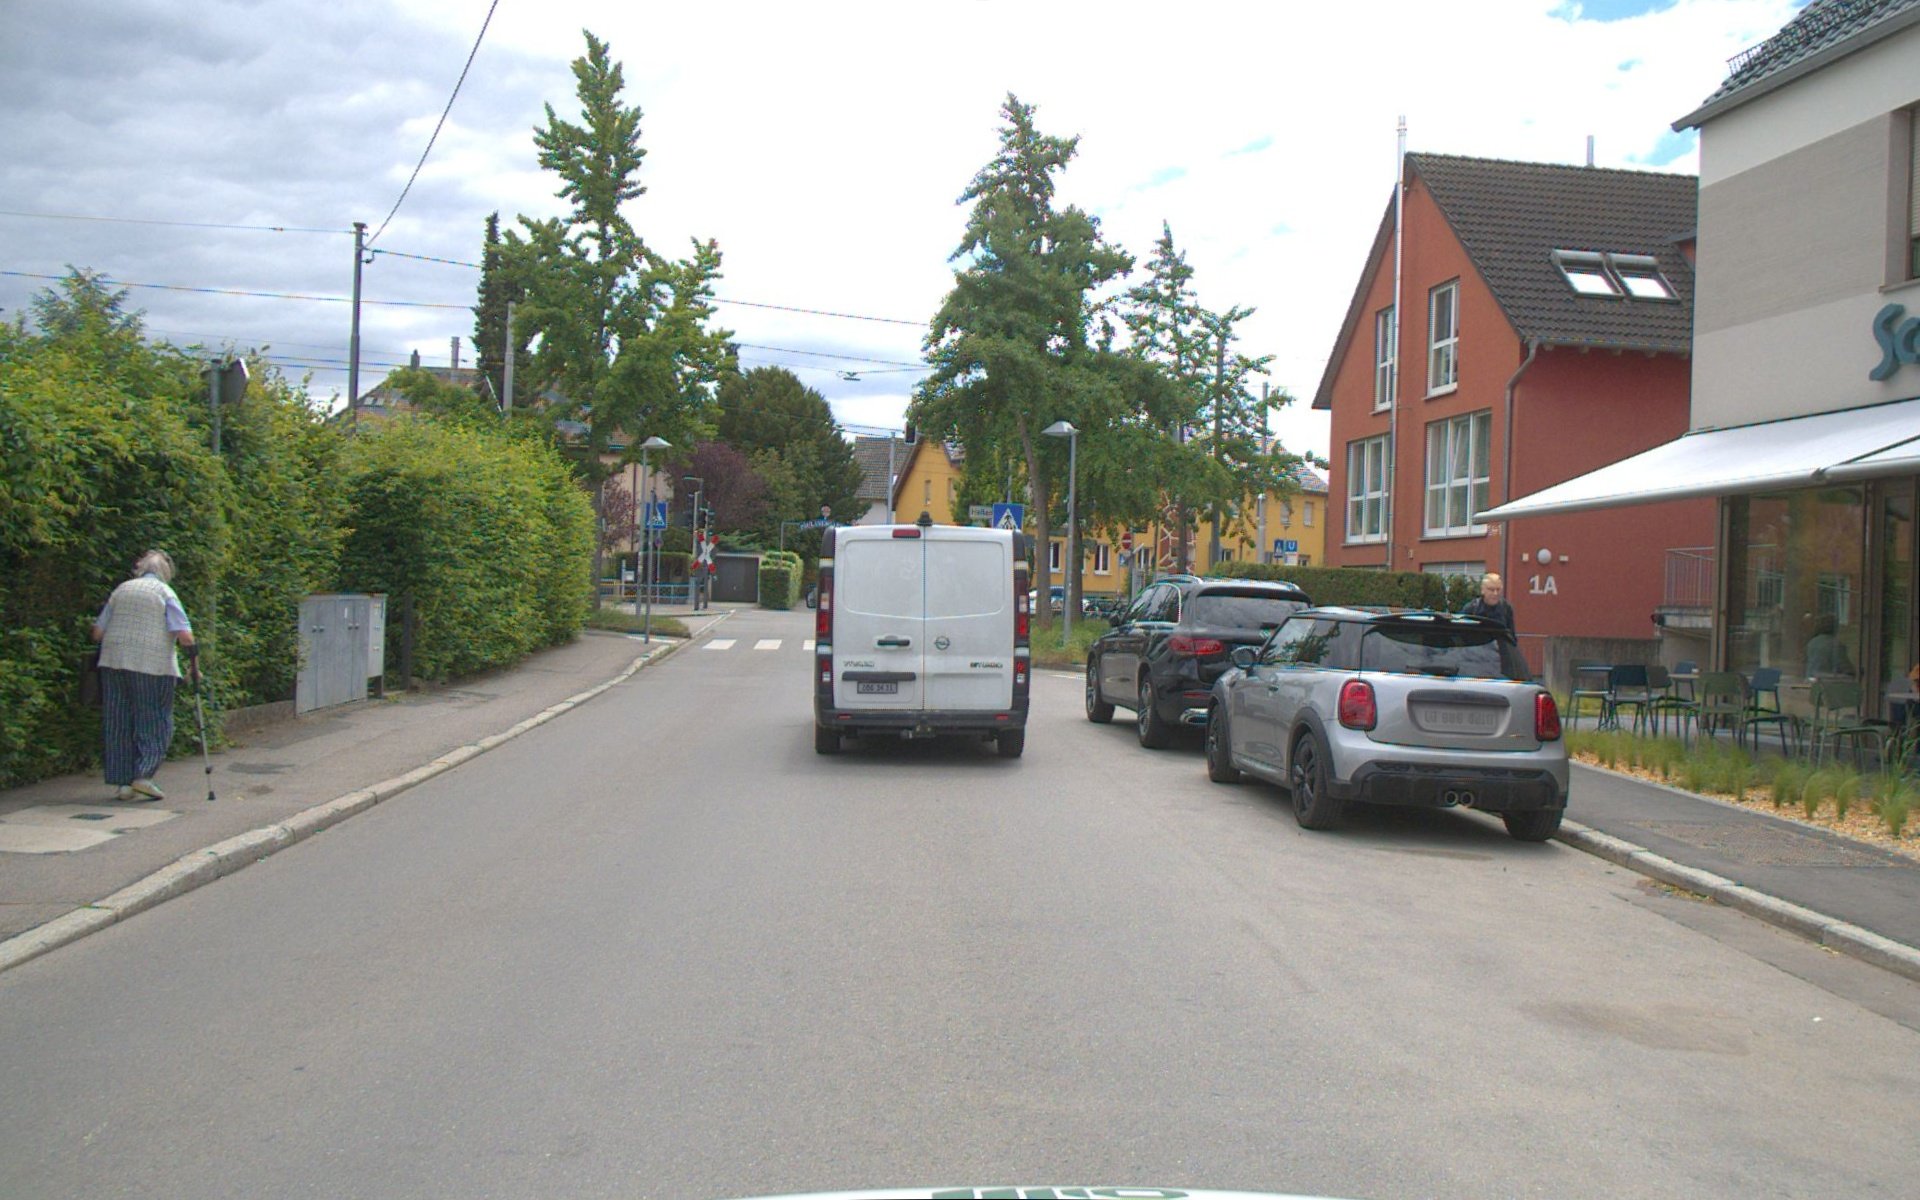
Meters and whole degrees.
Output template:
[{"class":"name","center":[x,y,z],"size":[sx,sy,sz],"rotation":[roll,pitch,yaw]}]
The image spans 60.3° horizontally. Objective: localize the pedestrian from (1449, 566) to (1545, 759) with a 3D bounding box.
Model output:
[{"class":"pedestrian","center":[4.723,0.539,14.572],"size":[0.578,1.634,0.529],"rotation":[4,-1,-1]}]

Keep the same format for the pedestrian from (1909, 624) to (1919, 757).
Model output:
[{"class":"pedestrian","center":[8.943,0.828,15.046],"size":[0.413,1.202,0.324],"rotation":[1,0,-5]}]

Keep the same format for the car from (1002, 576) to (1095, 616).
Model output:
[{"class":"car","center":[4.096,-0.201,76.534],"size":[3.885,1.563,1.898],"rotation":[4,0,-34]}]

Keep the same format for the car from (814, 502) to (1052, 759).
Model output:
[{"class":"car","center":[-0.379,0.203,15.501],"size":[1.878,2.037,4.434],"rotation":[1,1,-4]}]

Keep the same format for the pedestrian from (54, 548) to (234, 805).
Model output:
[{"class":"pedestrian","center":[-4.988,0.469,10.151],"size":[0.864,1.511,0.452],"rotation":[4,-1,-22]}]

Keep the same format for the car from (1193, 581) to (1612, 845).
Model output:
[{"class":"car","center":[2.978,0.694,11.951],"size":[1.708,1.520,3.651],"rotation":[4,0,-5]}]

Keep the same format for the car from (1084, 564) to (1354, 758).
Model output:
[{"class":"car","center":[2.494,0.526,16.961],"size":[1.669,1.642,4.254],"rotation":[4,0,-5]}]
